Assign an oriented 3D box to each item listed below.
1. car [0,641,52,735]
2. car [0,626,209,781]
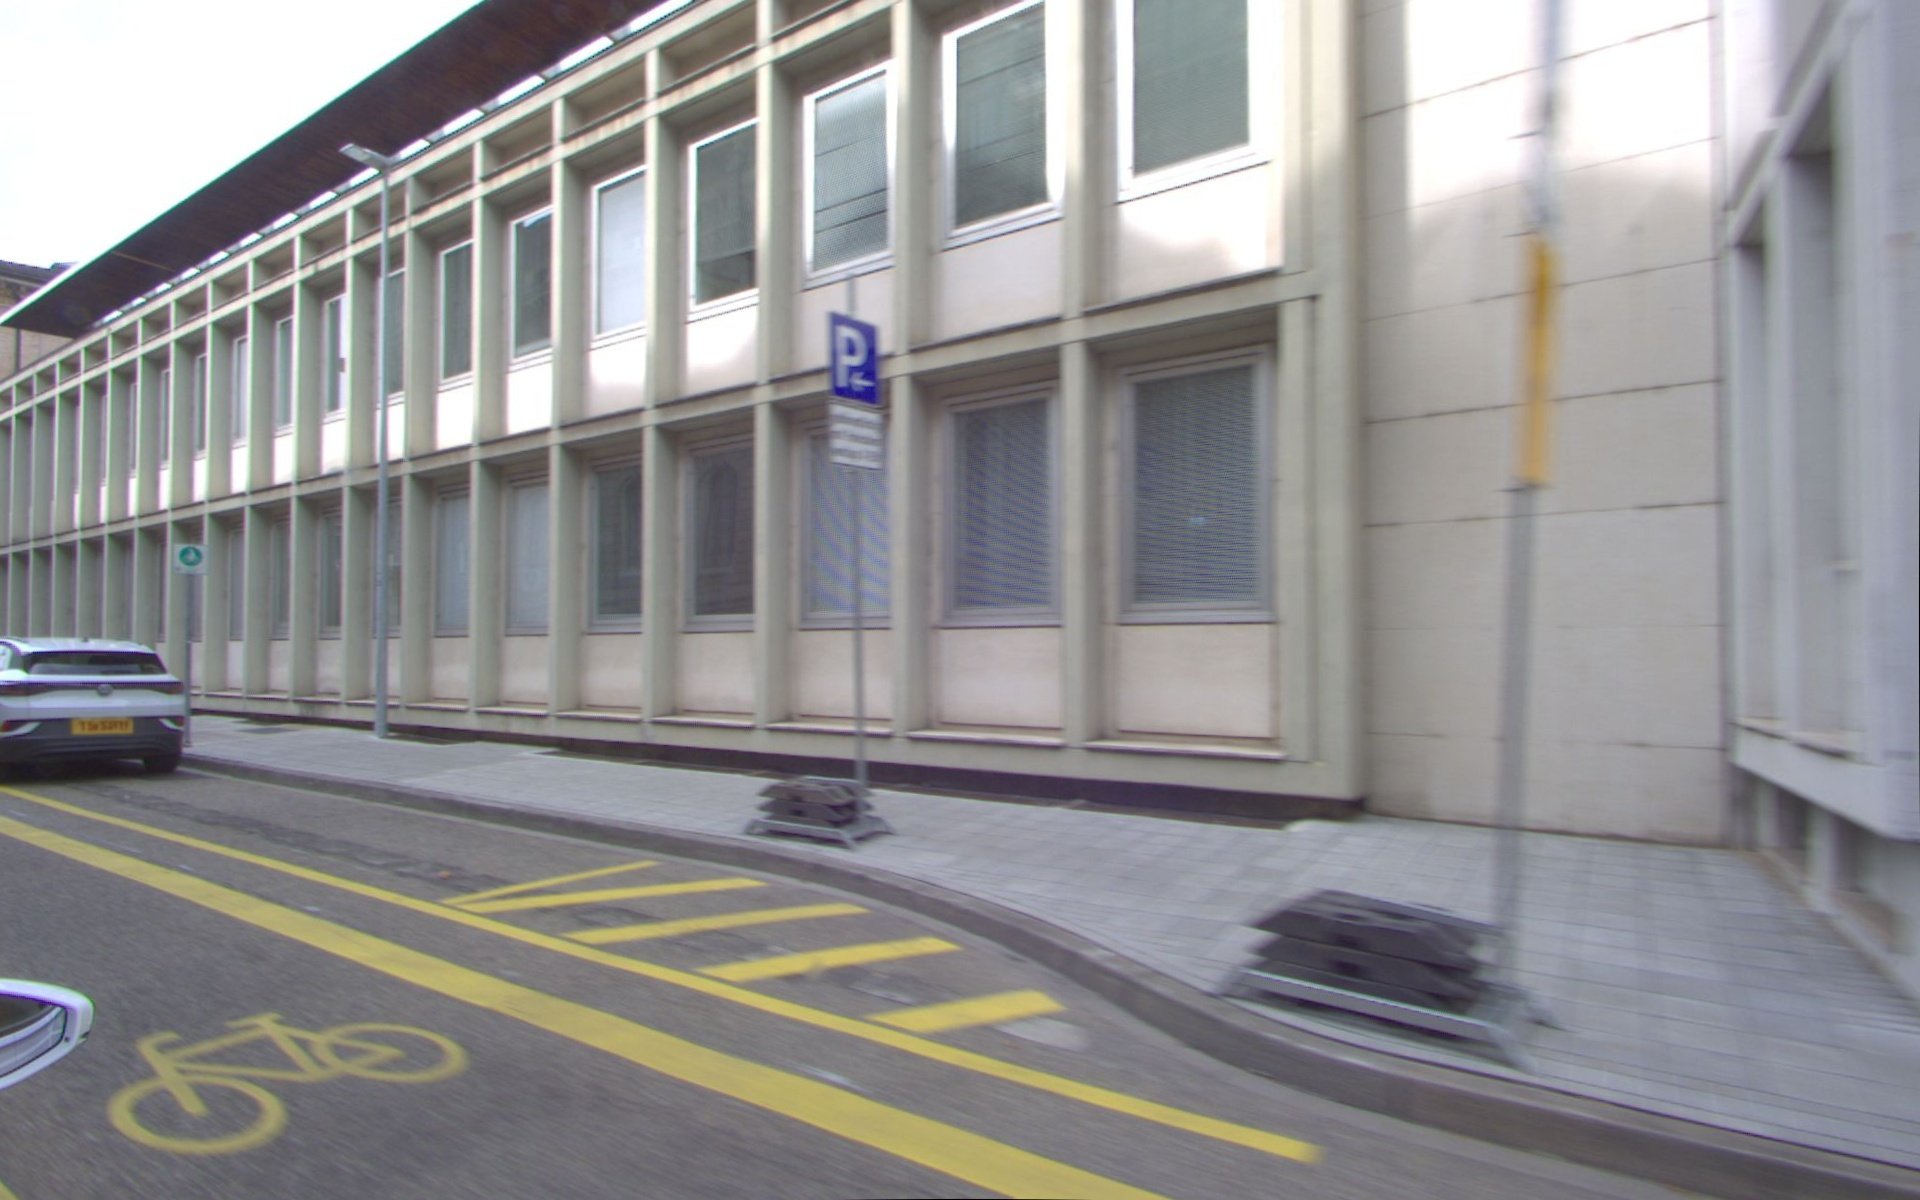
[{"bbox_3d":[-16.572,1.410,16.468,3.837,1.452,1.676,-2,-4,37],"label":"car"},{"bbox_3d":[-11.366,1.235,12.561,4.455,1.624,1.856,-2,-6,37],"label":"car"}]
